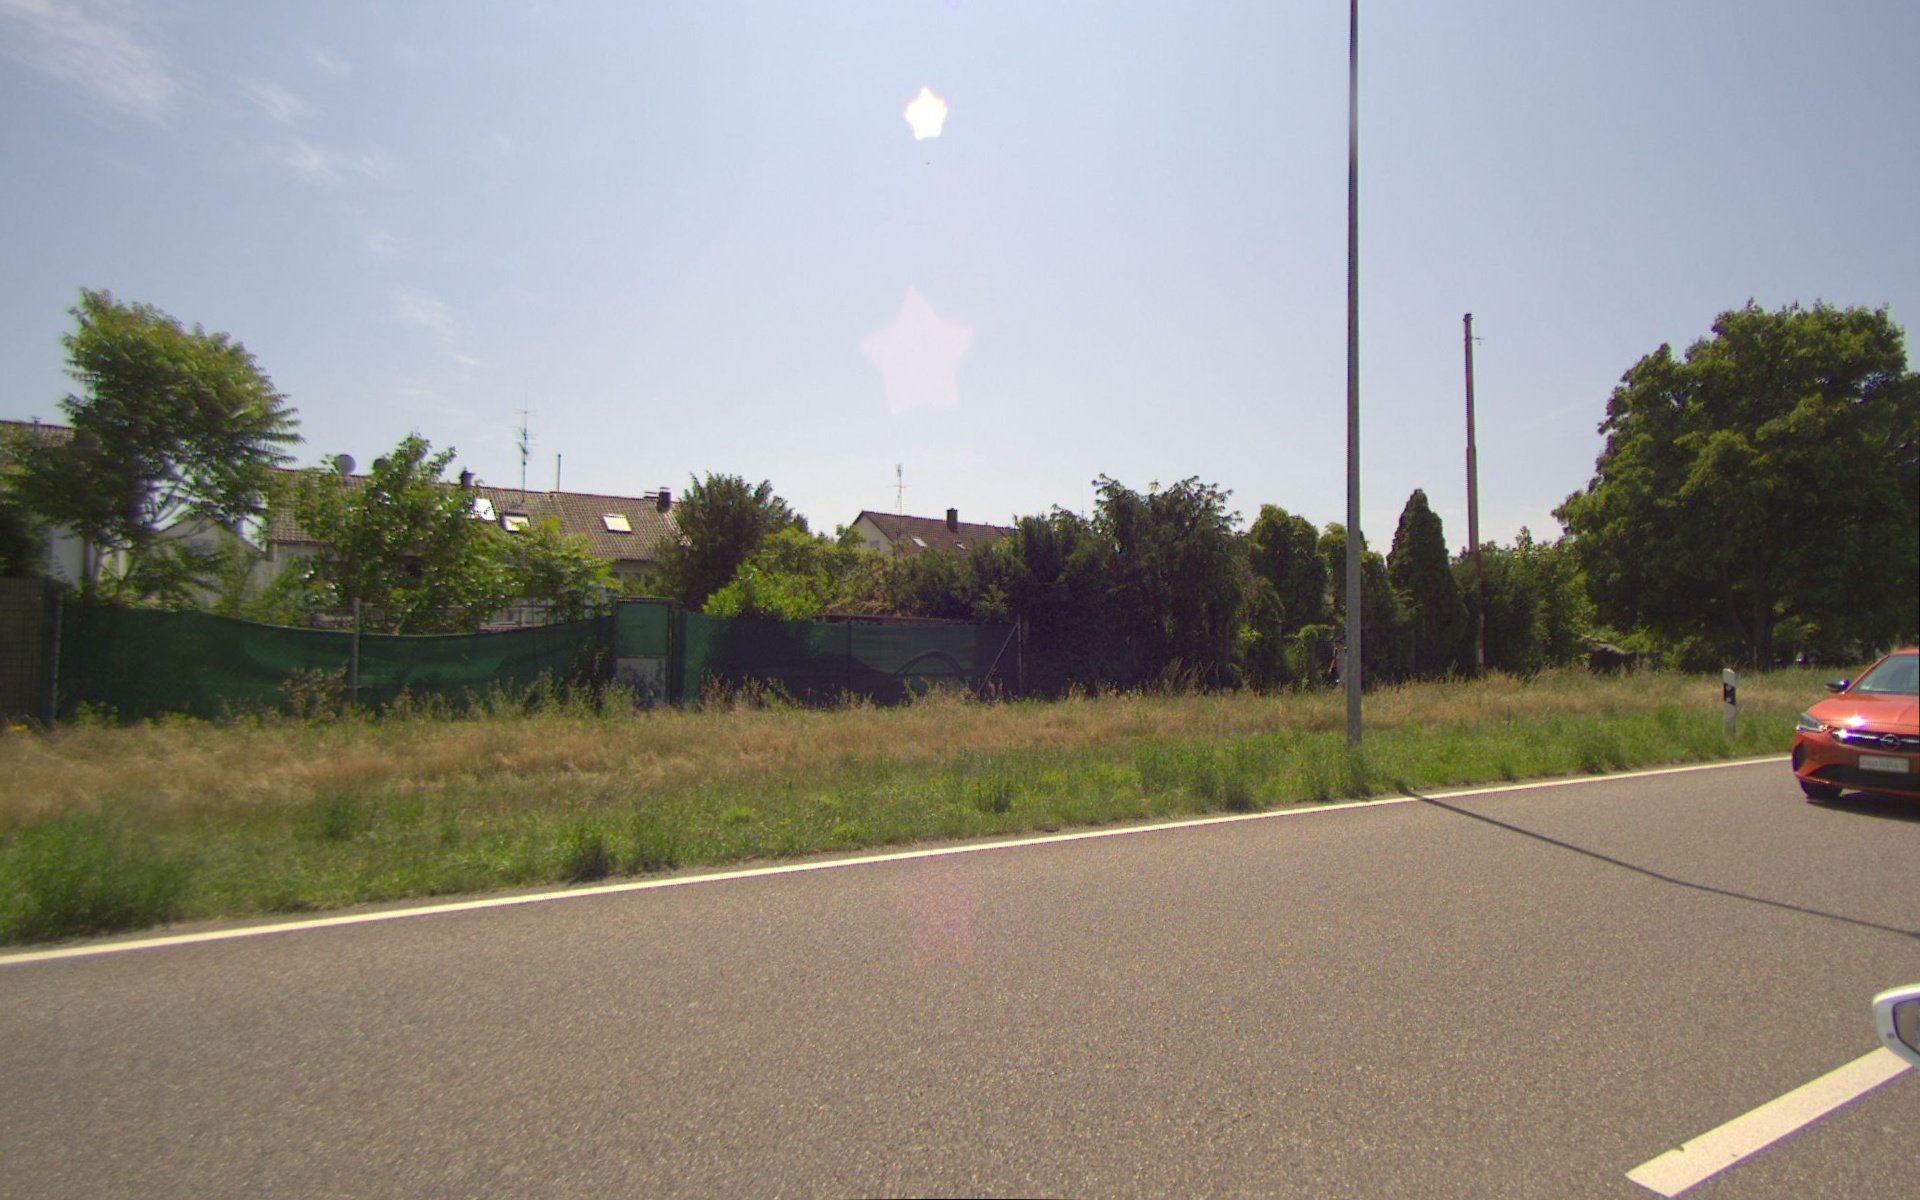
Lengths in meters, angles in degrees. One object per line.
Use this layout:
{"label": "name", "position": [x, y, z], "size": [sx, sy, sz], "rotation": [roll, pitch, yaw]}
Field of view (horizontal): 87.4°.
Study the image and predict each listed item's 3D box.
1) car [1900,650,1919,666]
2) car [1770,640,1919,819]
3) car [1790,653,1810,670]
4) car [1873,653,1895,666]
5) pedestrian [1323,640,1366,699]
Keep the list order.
{"label": "car", "position": [110.236, 6.686, 116.246], "size": [1.824, 1.734, 3.982], "rotation": [-1, -2, 39]}
{"label": "car", "position": [9.375, 1.118, 9.291], "size": [3.953, 1.417, 1.671], "rotation": [2, -2, -31]}
{"label": "car", "position": [101.801, 7.425, 121.785], "size": [1.824, 1.973, 3.982], "rotation": [0, -2, 39]}
{"label": "car", "position": [108.336, 6.962, 117.731], "size": [1.668, 1.582, 3.821], "rotation": [-2, -4, 40]}
{"label": "pedestrian", "position": [9.062, 1.632, 23.695], "size": [0.788, 1.373, 0.578], "rotation": [2, -2, -28]}
